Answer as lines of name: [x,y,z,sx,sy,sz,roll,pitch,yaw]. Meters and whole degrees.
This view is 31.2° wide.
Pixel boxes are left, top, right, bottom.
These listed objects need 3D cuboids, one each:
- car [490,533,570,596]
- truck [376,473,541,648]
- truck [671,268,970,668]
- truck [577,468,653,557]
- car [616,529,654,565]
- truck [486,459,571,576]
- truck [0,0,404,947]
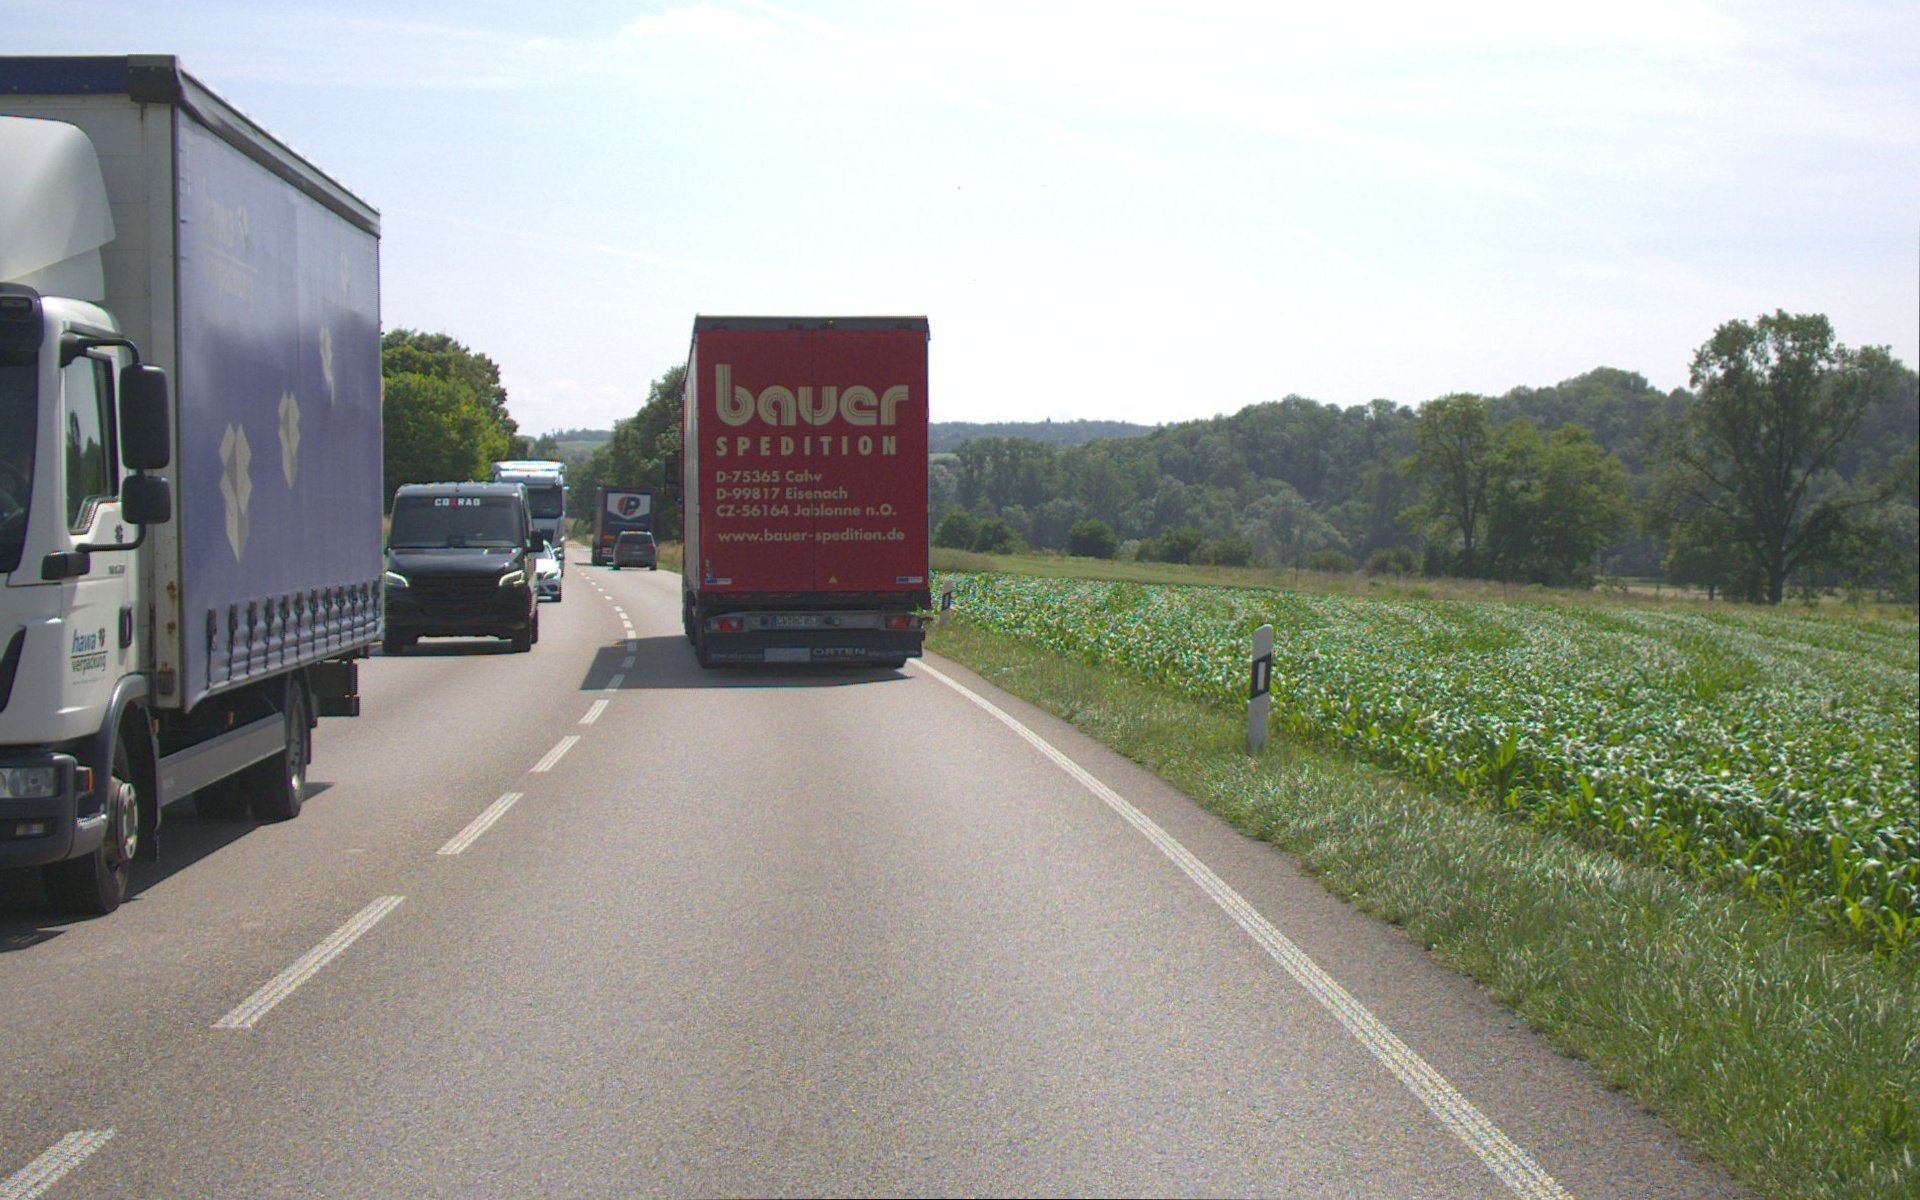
car: [-10.109,-0.859,80.975,1.728,1.435,4.177,0,1,-5]
truck: [-6.965,-0.568,48.206,2.009,2.312,5.193,0,1,-5]
truck: [-1.828,-1.448,40.748,3.094,4.248,8.316,0,1,-5]
truck: [-17.425,-4.360,174.429,3.639,4.277,11.987,0,0,-5]
car: [-13.935,-2.285,147.484,1.581,1.496,3.877,0,1,-6]
truck: [-15.722,-3.007,125.980,2.826,3.979,16.537,-1,1,-7]
truck: [-4.761,-0.585,17.547,2.741,3.566,9.728,0,1,-3]
